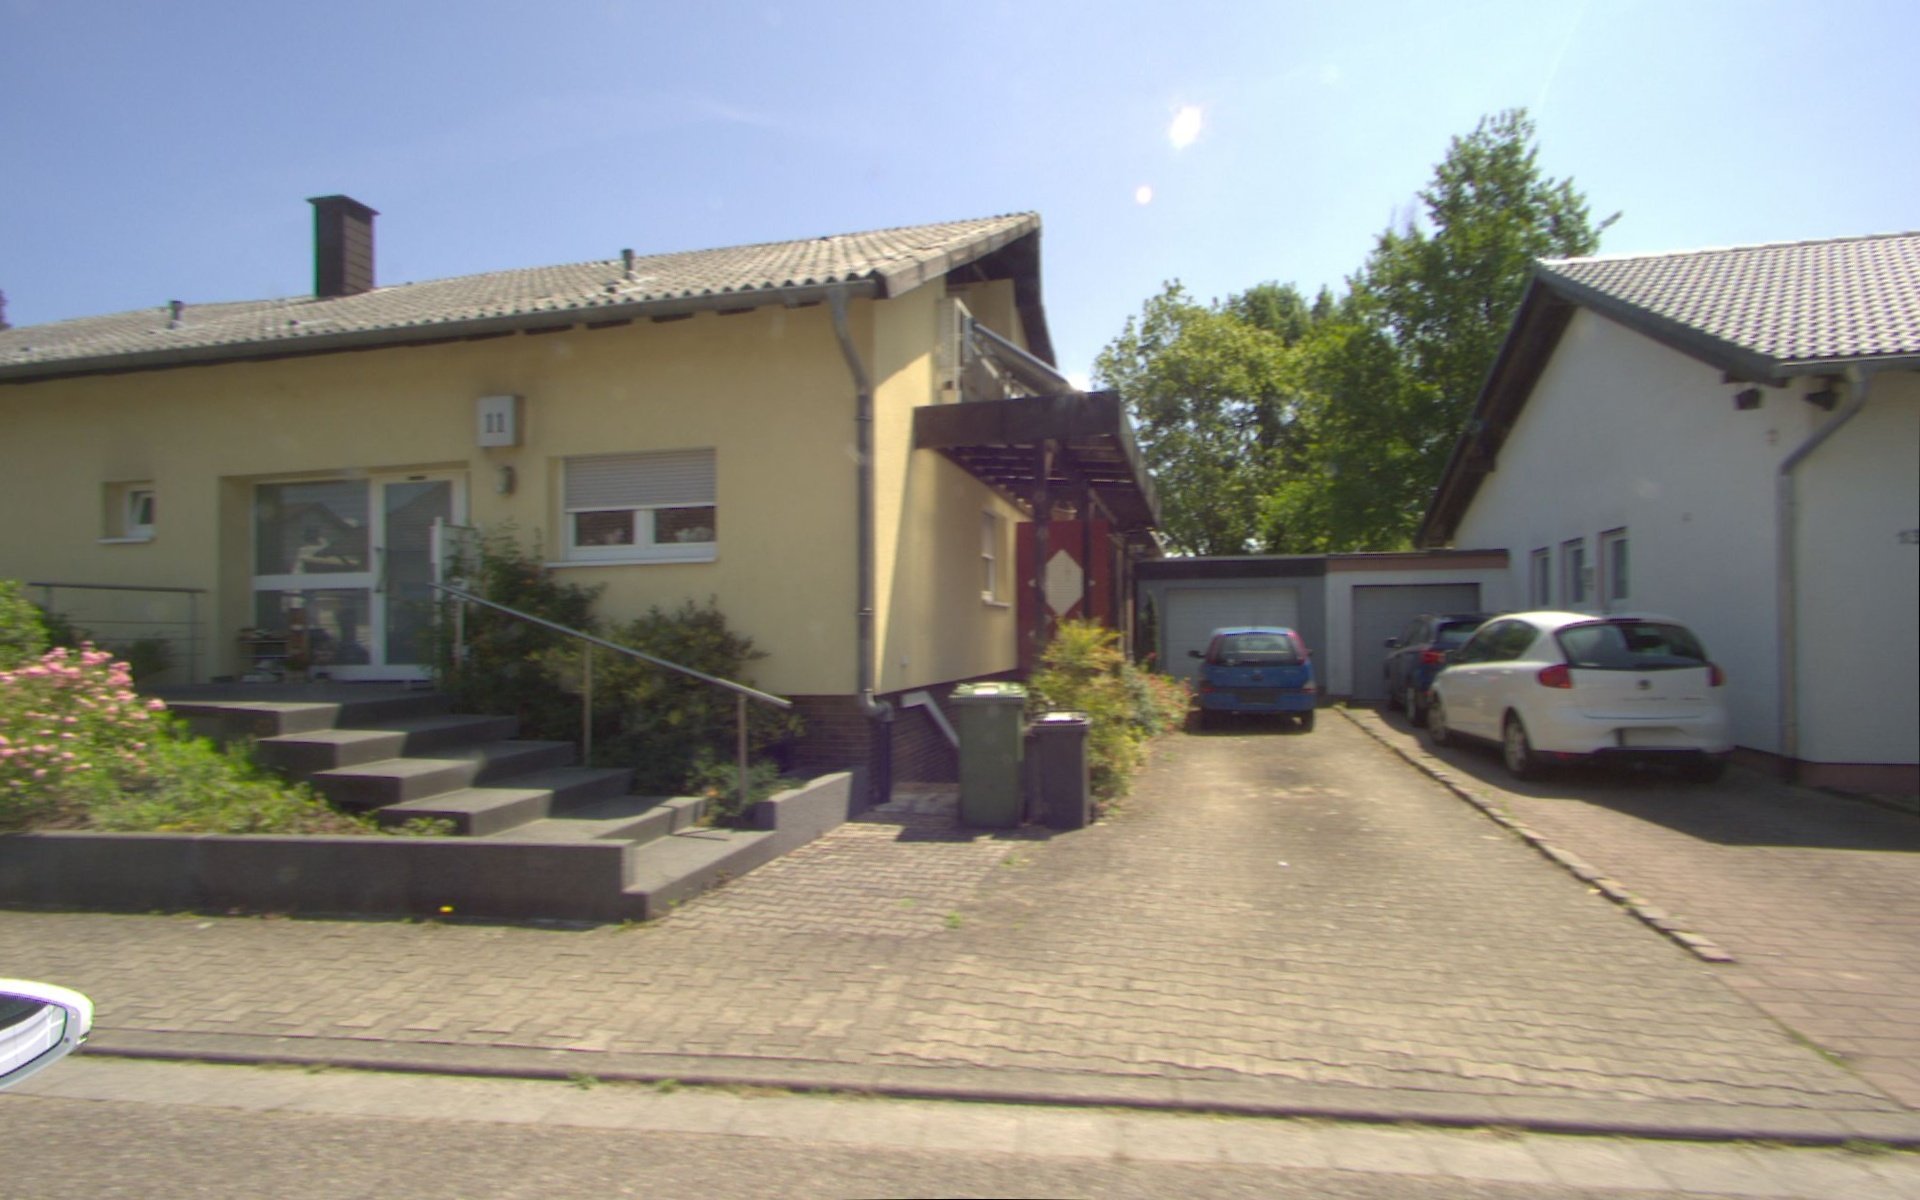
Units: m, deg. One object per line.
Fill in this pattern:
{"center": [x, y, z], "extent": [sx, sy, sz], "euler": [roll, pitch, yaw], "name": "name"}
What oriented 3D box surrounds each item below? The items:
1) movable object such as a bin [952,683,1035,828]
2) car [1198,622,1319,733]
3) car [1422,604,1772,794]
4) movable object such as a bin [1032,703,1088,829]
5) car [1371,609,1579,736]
{"center": [0.264, 1.178, 7.698], "extent": [0.581, 1.054, 0.492], "euler": [-1, -1, 7], "name": "movable object such as a bin"}
{"center": [4.476, 1.092, 15.355], "extent": [1.590, 1.474, 3.251], "euler": [0, 0, 14], "name": "car"}
{"center": [6.308, 0.895, 10.509], "extent": [1.719, 1.588, 3.999], "euler": [-1, -2, 11], "name": "car"}
{"center": [0.761, 1.249, 7.616], "extent": [0.400, 0.903, 0.426], "euler": [-1, -1, 6], "name": "movable object such as a bin"}
{"center": [7.517, 0.995, 15.057], "extent": [1.893, 1.628, 3.997], "euler": [-1, -1, 14], "name": "car"}
